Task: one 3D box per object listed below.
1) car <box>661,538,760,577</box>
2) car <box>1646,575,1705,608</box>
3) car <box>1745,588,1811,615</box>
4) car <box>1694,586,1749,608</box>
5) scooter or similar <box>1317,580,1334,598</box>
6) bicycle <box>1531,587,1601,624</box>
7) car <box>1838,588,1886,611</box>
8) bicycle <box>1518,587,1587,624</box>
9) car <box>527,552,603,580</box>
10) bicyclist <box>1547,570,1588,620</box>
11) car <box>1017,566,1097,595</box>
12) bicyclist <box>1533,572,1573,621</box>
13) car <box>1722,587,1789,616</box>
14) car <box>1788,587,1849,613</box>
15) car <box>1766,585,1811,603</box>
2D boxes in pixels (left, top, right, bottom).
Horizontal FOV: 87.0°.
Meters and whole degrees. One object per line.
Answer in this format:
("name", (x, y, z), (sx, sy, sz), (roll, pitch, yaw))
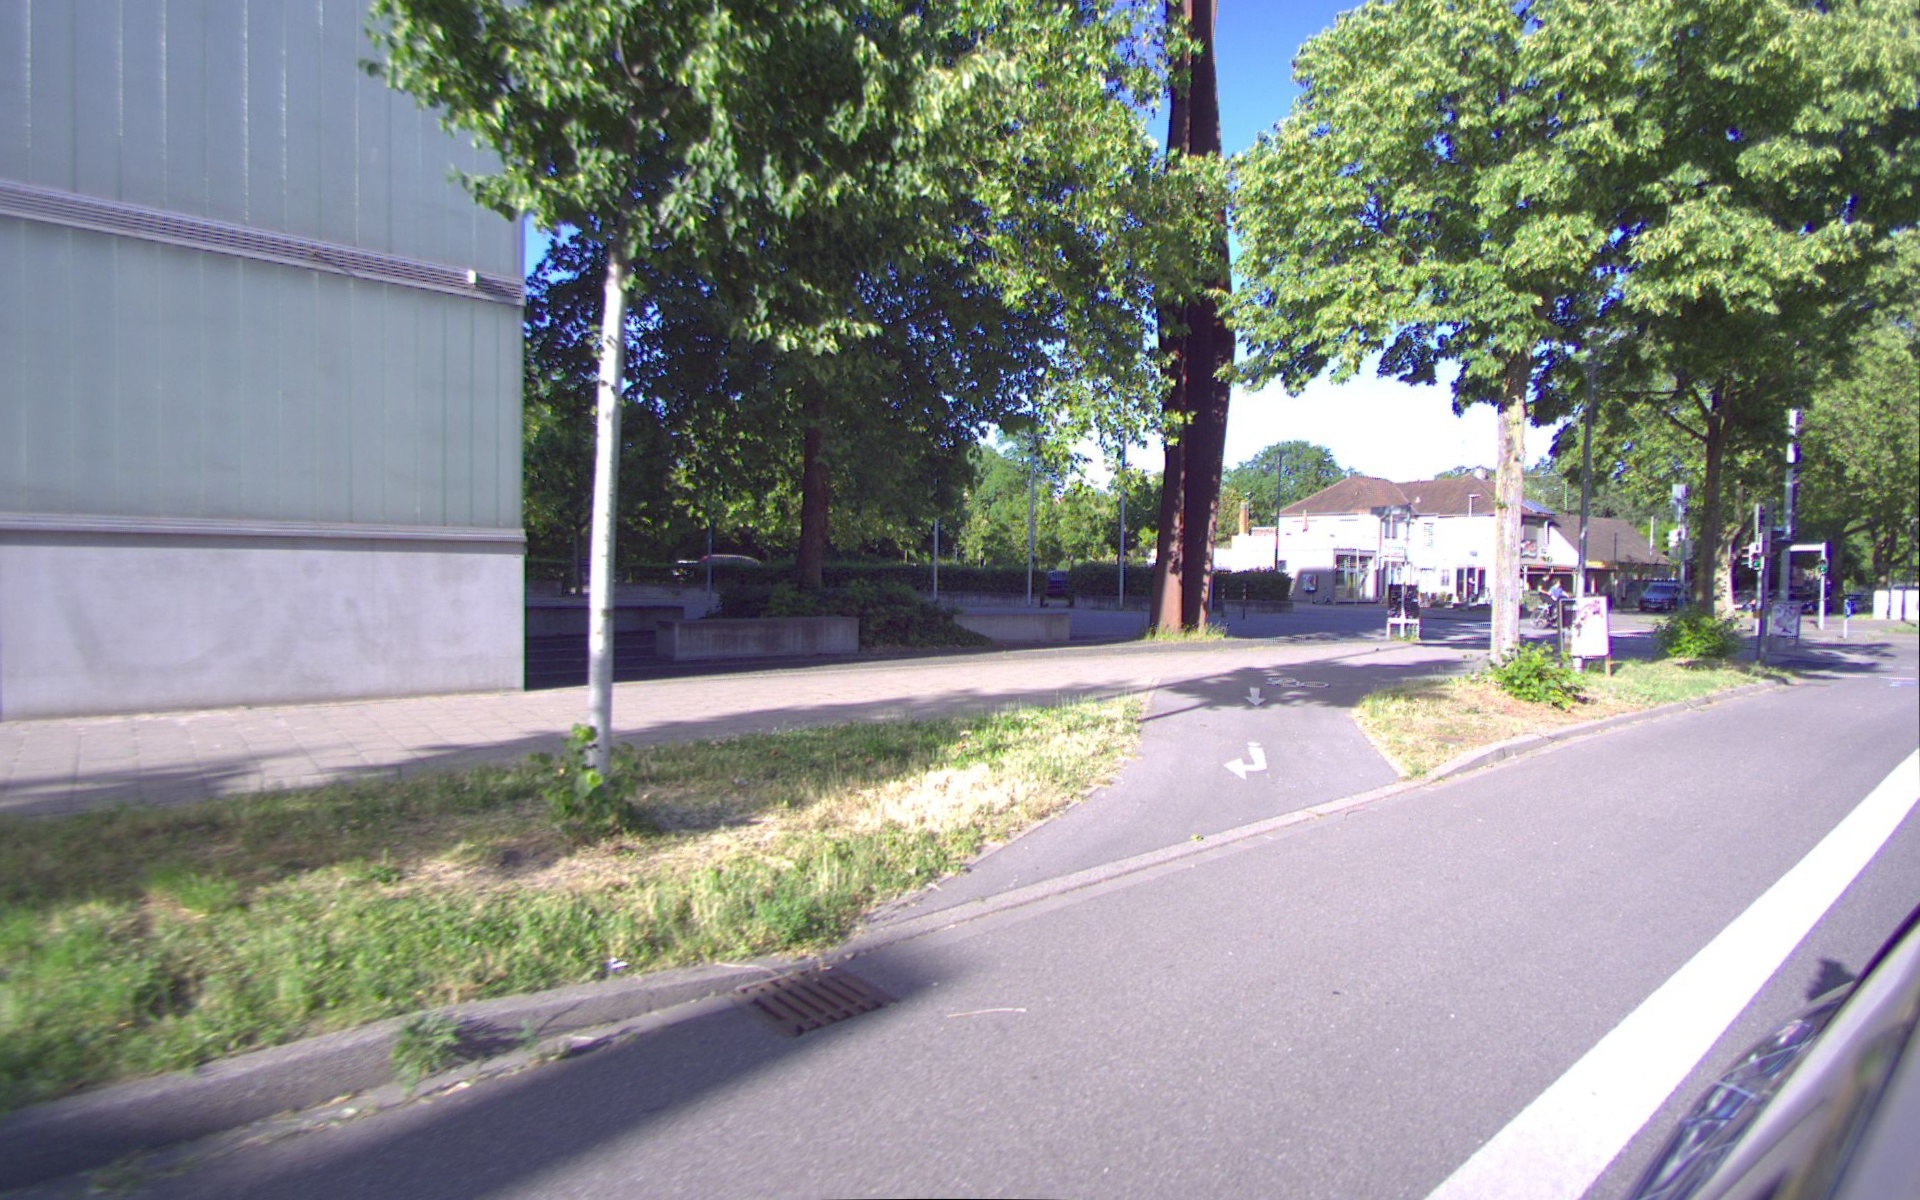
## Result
("car", (-10.477, -1.761, 42.747), (3.917, 1.484, 2.004), (1, 0, -11))
("car", (49.092, -0.594, 69.419), (4.978, 2.061, 1.899), (0, 3, -39))
("car", (45.856, 0.040, 56.708), (4.266, 1.429, 1.899), (0, 1, -37))
("car", (56.724, -0.237, 75.362), (4.820, 1.504, 1.900), (0, 1, -36))
("scooter or similar", (24.430, -0.711, 67.711), (0.995, 1.178, 0.261), (1, 1, 7))
("bicycle", (21.553, 0.178, 36.044), (0.540, 1.218, 2.107), (1, 2, -28))
("car", (60.755, -0.062, 68.177), (3.979, 1.504, 1.897), (0, 1, -40))
("bicycle", (20.784, 0.180, 35.533), (0.540, 1.218, 2.108), (1, 2, -25))
("car", (-22.766, -1.958, 58.452), (3.916, 1.484, 2.004), (1, 0, -15))
("bicyclist", (21.579, -0.184, 35.958), (0.815, 1.759, 0.878), (1, 1, -29))
("car", (5.317, -1.047, 55.647), (3.917, 1.484, 2.004), (1, 0, -11))
("bicyclist", (20.792, -0.136, 35.495), (0.777, 1.674, 0.878), (1, 1, -29))
("car", (42.433, 0.039, 53.949), (3.963, 1.483, 1.899), (0, 1, -38))
("car", (53.011, -0.005, 62.458), (4.265, 1.507, 1.900), (0, 1, -36))
("car", (71.528, -0.523, 87.310), (4.568, 1.548, 1.999), (0, 1, -37))
